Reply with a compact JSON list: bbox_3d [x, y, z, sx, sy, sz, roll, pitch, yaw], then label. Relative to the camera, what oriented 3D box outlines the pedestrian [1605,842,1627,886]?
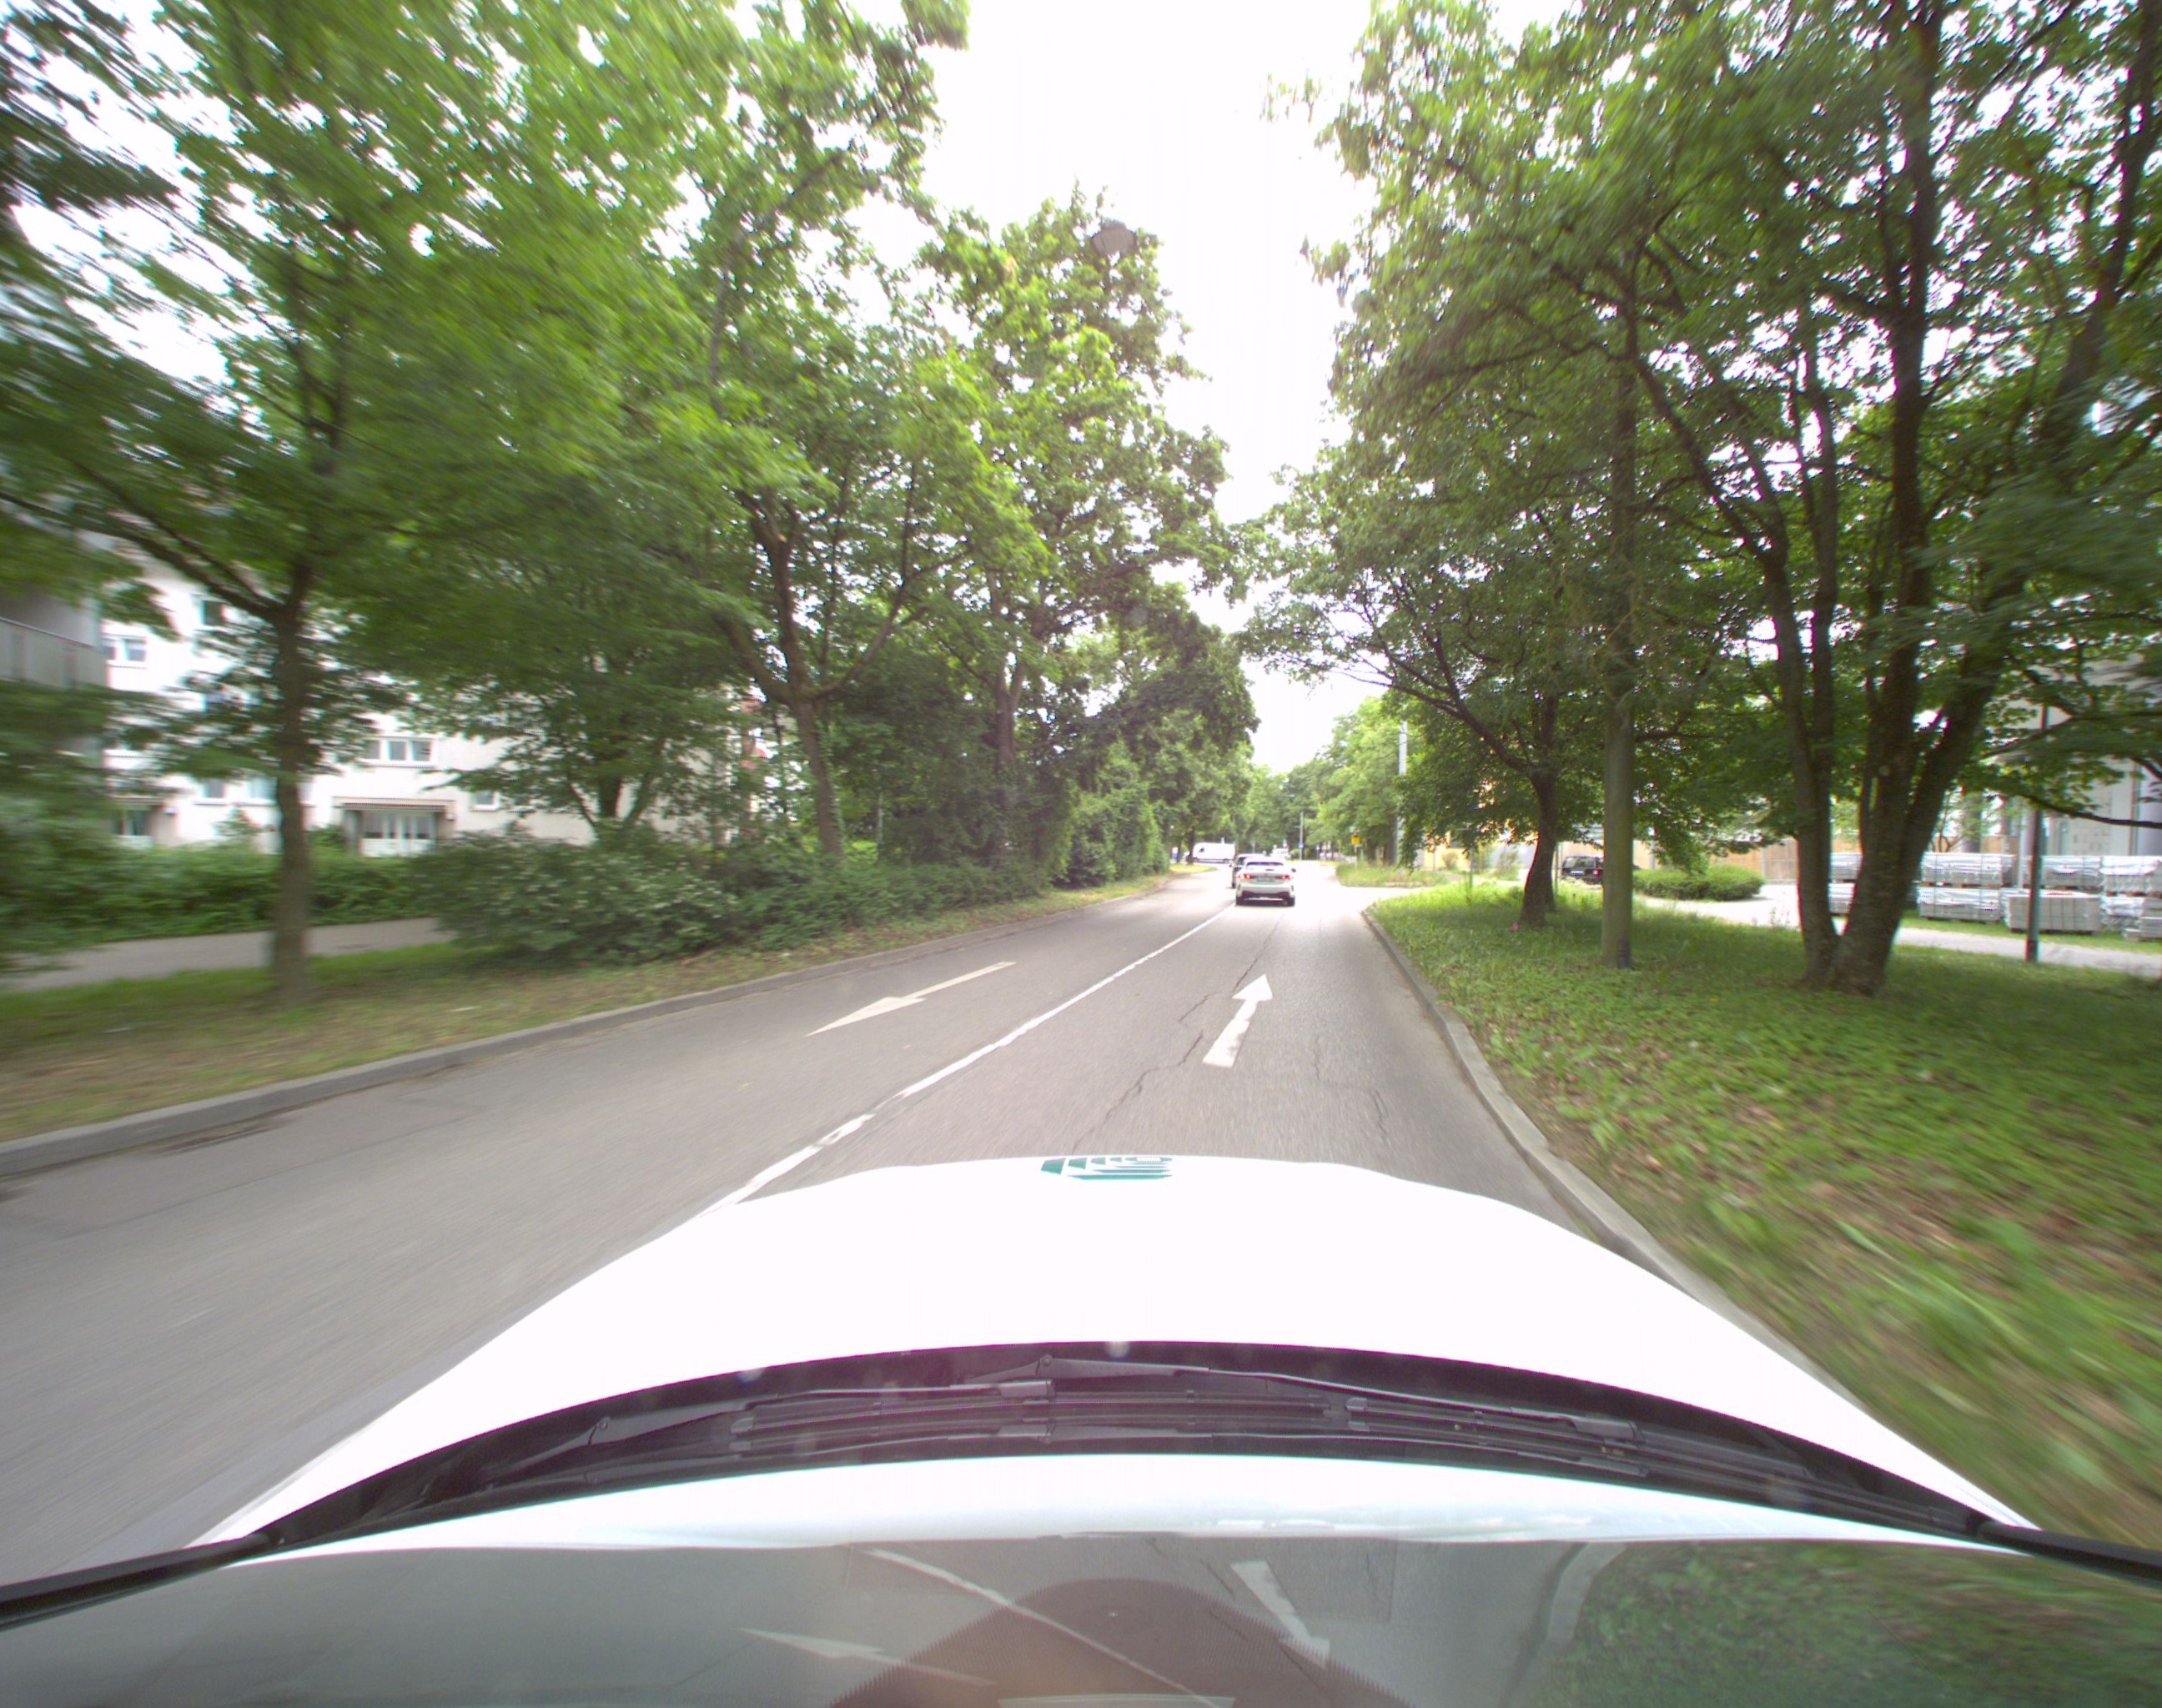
[{"bbox_3d":[22.231,0.409,33.856,0.474,1.754,0.582,-3,3,-13],"label":"pedestrian"}]

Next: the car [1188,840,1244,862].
[{"bbox_3d":[17.630,-0.349,106.144,6.982,2.521,2.071,2,2,-21],"label":"car"}]

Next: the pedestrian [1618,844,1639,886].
[{"bbox_3d":[22.895,0.450,34.053,0.497,1.725,0.534,-3,3,-13],"label":"pedestrian"}]

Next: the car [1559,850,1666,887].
[{"bbox_3d":[23.239,0.596,35.575,4.753,1.516,1.854,0,0,-28],"label":"car"}]

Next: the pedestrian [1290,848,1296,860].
[{"bbox_3d":[34.075,-0.034,130.772,0.917,1.871,1.023,-3,2,13],"label":"pedestrian"}]

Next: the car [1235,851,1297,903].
[{"bbox_3d":[5.987,0.687,26.156,1.783,1.517,4.223,0,0,14],"label":"car"}]

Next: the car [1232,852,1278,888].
[{"bbox_3d":[8.323,0.715,38.720,1.909,1.574,4.016,1,1,14],"label":"car"}]

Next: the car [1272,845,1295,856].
[{"bbox_3d":[48.185,-0.815,193.800,5.407,2.296,2.116,2,2,-35],"label":"car"}]
